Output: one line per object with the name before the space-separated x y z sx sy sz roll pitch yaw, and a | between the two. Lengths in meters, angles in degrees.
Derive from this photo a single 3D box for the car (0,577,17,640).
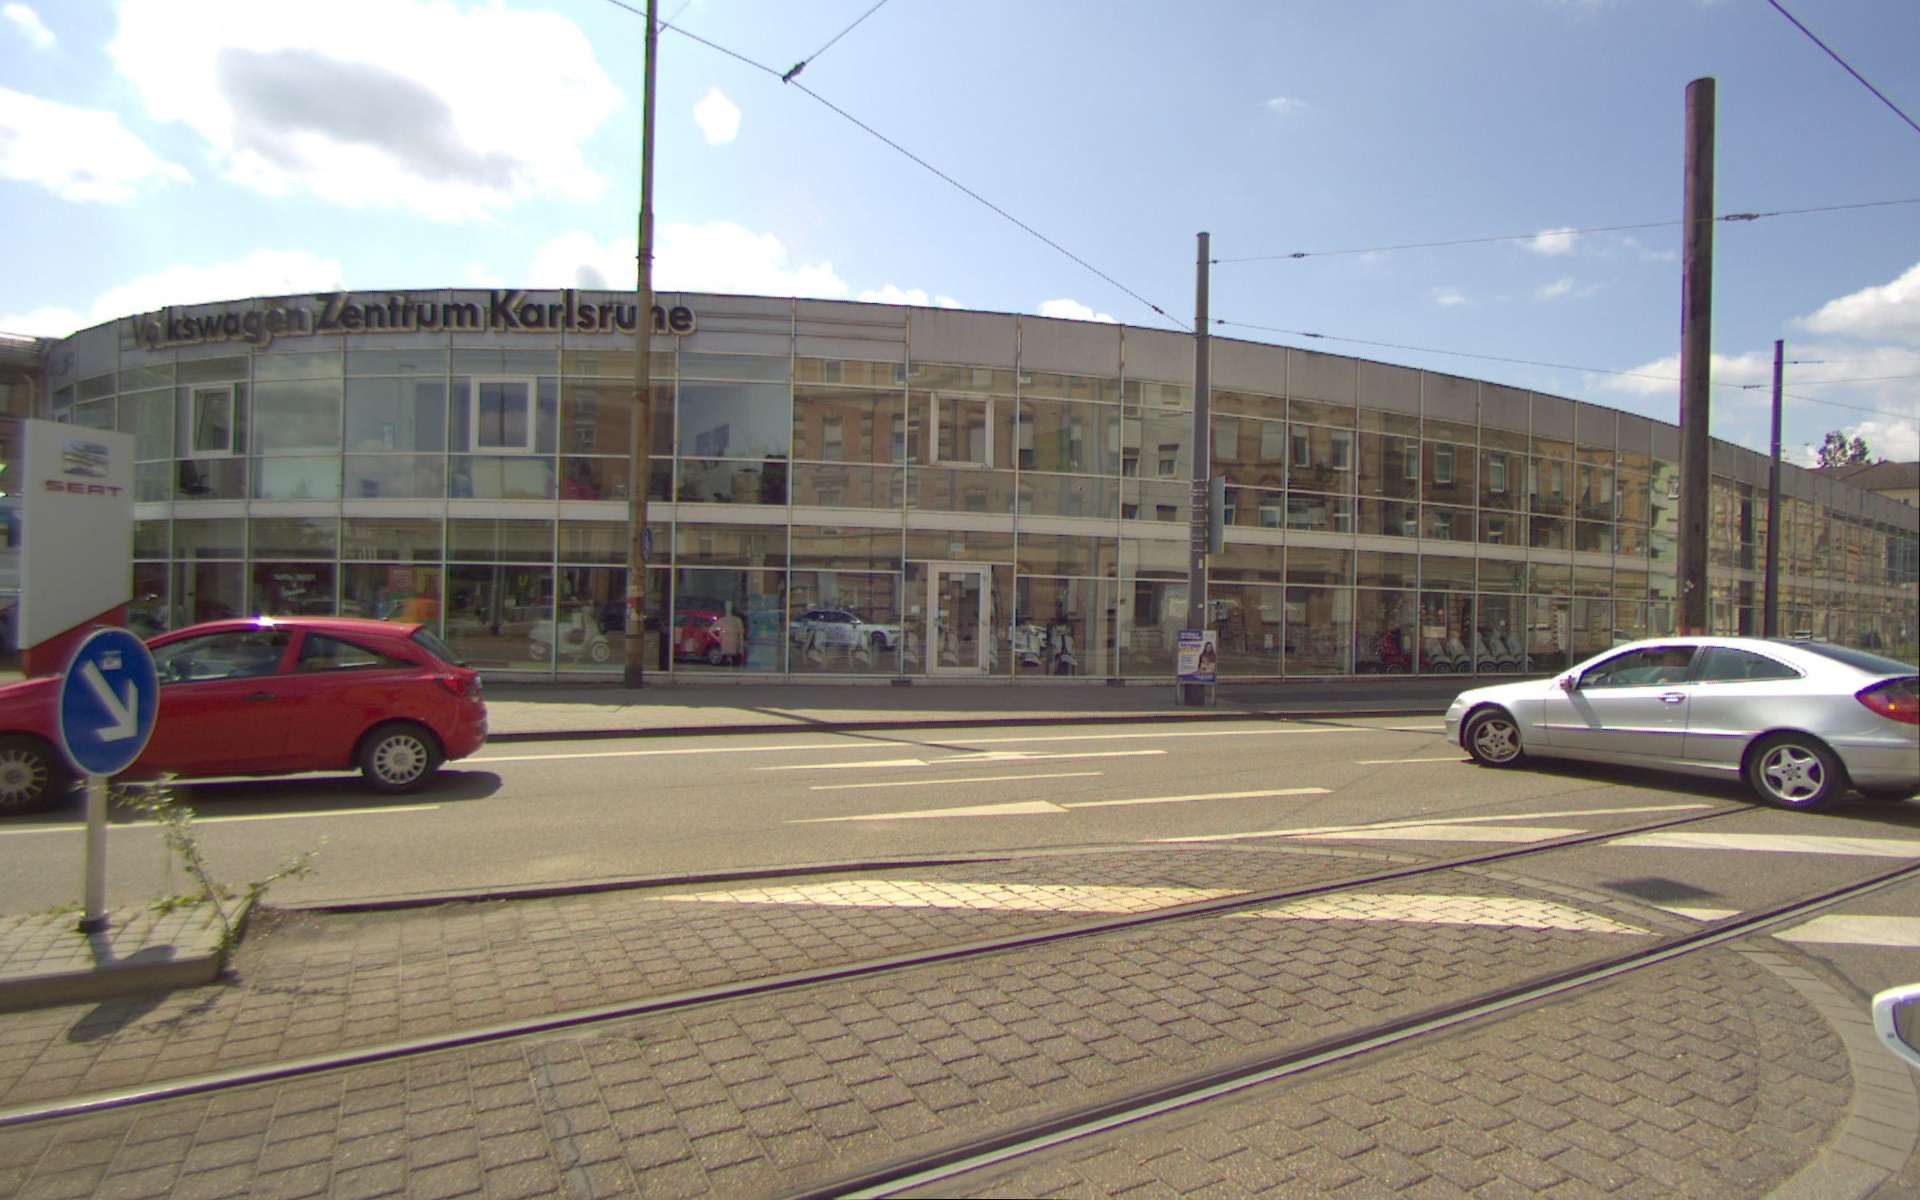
car | -23.749 0.154 22.133 1.798 1.466 3.948 2 0 18

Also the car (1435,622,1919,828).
car | 6.893 0.969 9.567 1.795 1.439 4.164 1 -1 -23

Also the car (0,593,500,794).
car | -6.080 0.724 8.548 3.847 1.447 1.698 2 -2 -24
